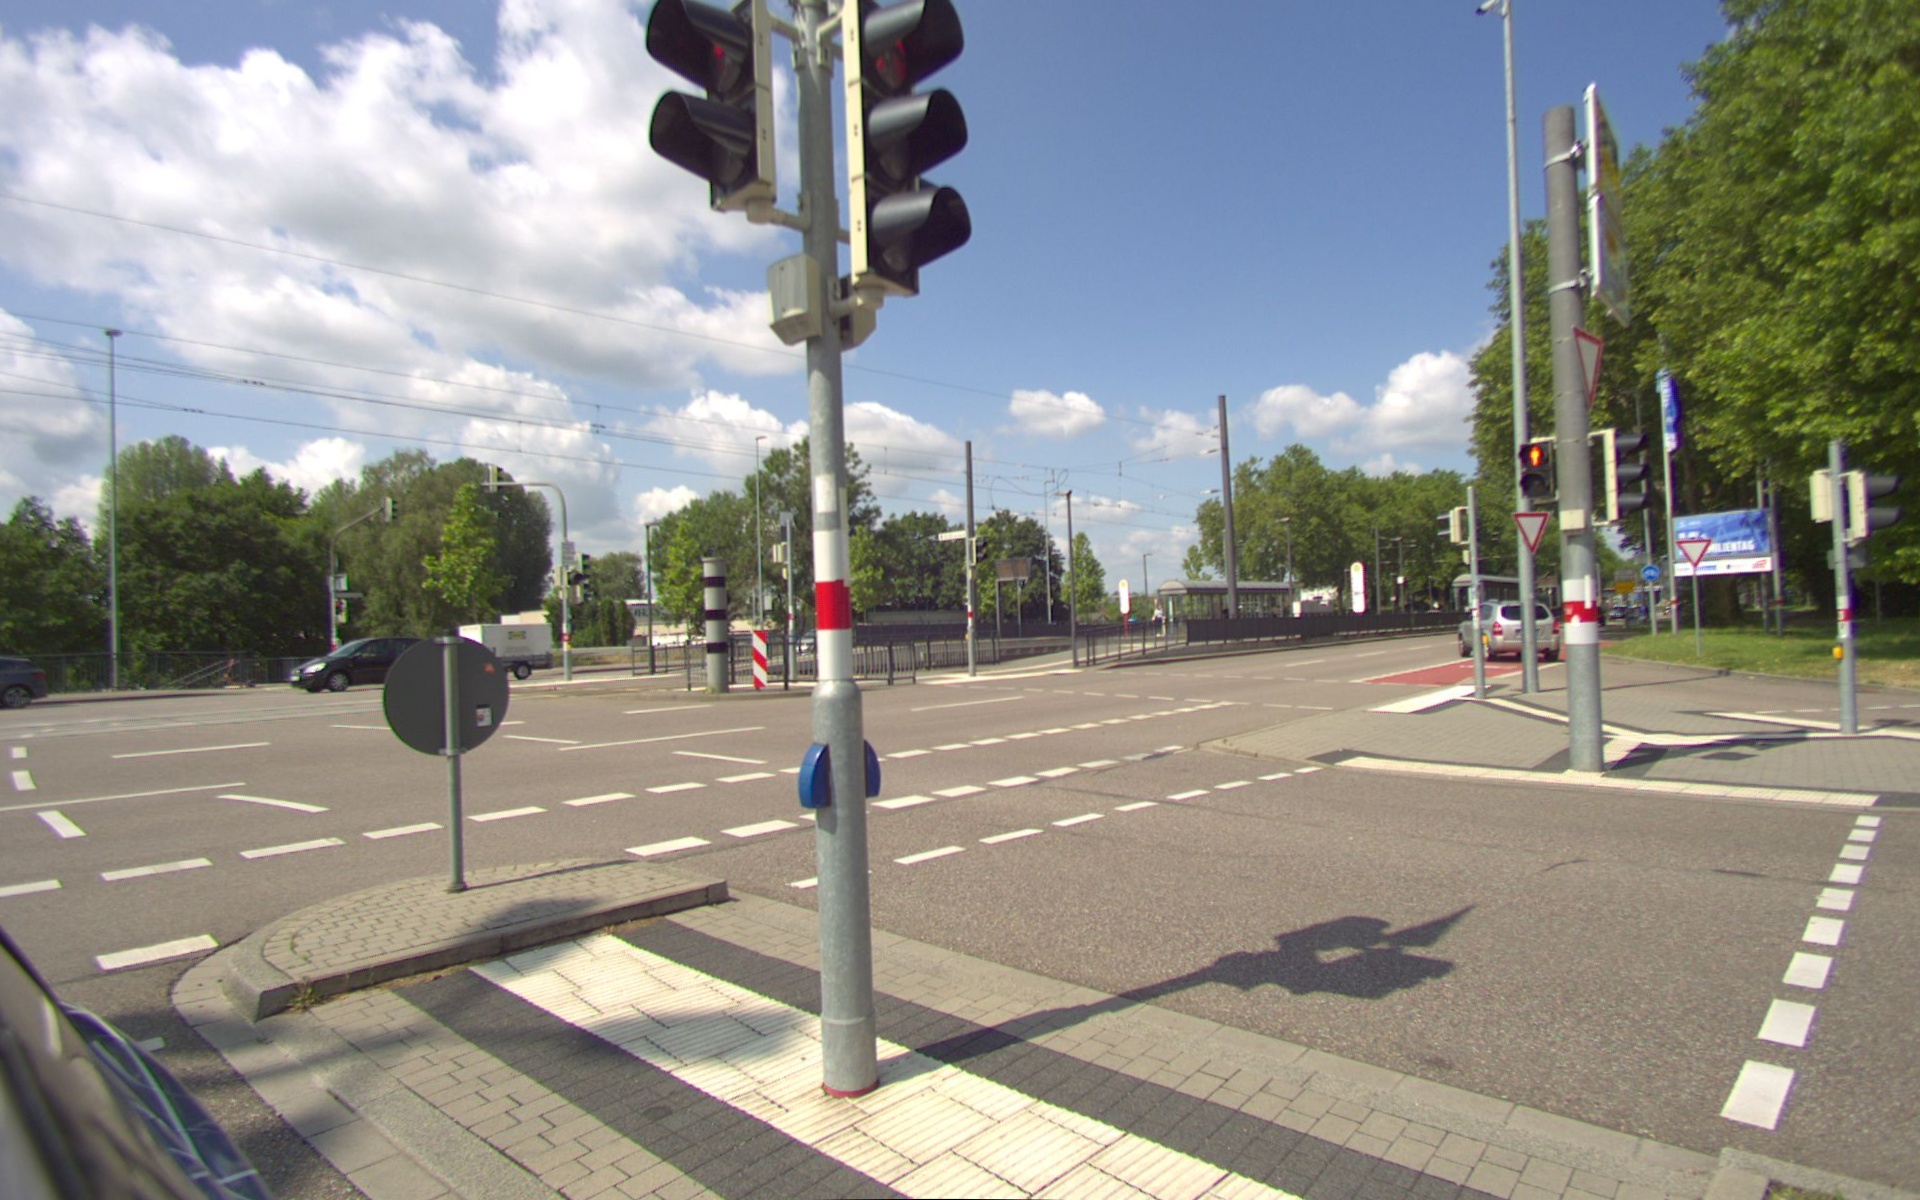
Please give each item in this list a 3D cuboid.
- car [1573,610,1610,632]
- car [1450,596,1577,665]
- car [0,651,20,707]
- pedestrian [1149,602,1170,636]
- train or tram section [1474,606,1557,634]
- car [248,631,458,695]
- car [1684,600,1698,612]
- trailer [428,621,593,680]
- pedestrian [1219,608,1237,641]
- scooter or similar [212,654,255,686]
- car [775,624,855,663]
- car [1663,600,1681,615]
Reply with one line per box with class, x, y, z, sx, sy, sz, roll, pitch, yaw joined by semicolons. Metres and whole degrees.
car;46.939;1.558;75.219;1.996;1.608;3.950;-2;-2;37
car;15.652;0.823;28.887;2.002;1.736;4.234;-3;-1;13
car;-27.247;2.141;26.191;1.726;1.458;4.021;-2;-1;35
pedestrian;10.241;0.996;52.073;0.760;1.722;0.783;-3;-3;36
train or tram section;68.939;2.448;125.027;4.526;3.055;24.798;-3;-3;39
car;-18.504;1.874;31.129;1.994;1.586;5.193;-4;-1;33
car;125.993;1.096;174.434;1.862;2.029;3.950;-2;-1;37
trailer;-15.627;1.716;35.490;1.820;1.845;5.123;-2;-1;34
pedestrian;15.712;1.443;59.311;0.759;1.867;0.783;-3;-3;33
scooter or similar;-26.351;2.531;36.707;0.343;1.107;1.234;-4;-3;38
car;-6.786;2.000;47.667;1.700;1.466;3.445;0;4;40
car;100.717;1.055;143.158;1.862;2.029;3.950;-2;-1;37
